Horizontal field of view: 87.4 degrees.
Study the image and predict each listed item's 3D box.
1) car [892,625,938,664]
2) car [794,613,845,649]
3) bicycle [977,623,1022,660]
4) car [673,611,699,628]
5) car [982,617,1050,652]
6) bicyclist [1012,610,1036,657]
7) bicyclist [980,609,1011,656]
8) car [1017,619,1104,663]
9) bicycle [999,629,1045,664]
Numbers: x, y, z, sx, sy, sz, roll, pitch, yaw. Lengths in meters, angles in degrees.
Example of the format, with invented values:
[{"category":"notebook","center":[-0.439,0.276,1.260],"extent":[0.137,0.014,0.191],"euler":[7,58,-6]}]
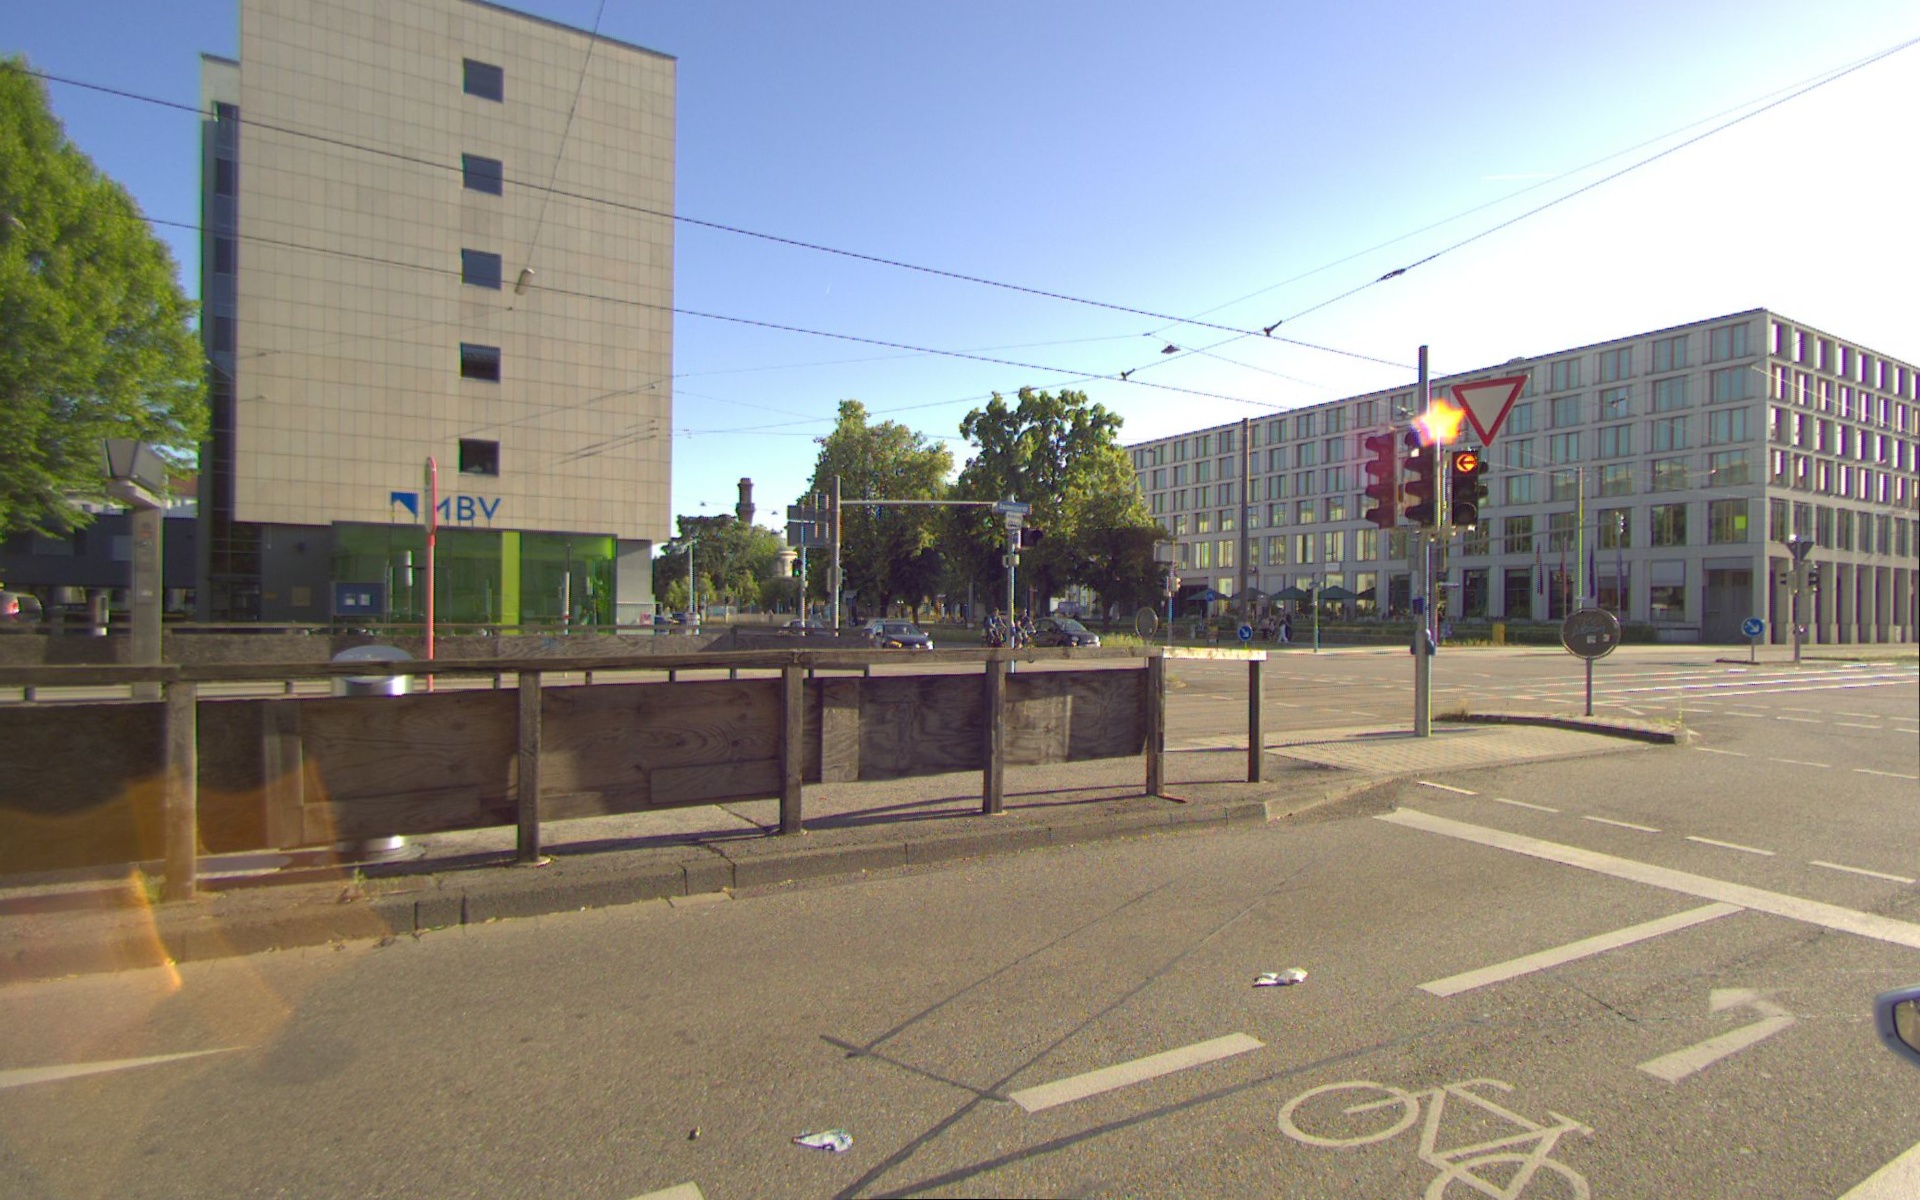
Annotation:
[{"category":"car","center":[-1.631,1.608,37.005],"extent":[1.441,1.311,3.229],"euler":[-1,0,1]},{"category":"car","center":[-6.593,1.433,47.558],"extent":[1.745,1.615,4.287],"euler":[0,-1,1]},{"category":"bicycle","center":[1.437,1.527,37.044],"extent":[0.874,1.305,2.042],"euler":[1,-1,-24]},{"category":"car","center":[-27.109,1.914,99.379],"extent":[1.505,1.526,3.511],"euler":[1,0,-32]},{"category":"car","center":[2.656,1.621,48.067],"extent":[1.505,1.526,3.511],"euler":[1,0,-32]},{"category":"bicyclist","center":[2.194,1.146,34.429],"extent":[0.586,1.603,0.617],"euler":[1,-1,-24]},{"category":"bicyclist","center":[1.327,1.206,37.300],"extent":[0.833,1.717,0.887],"euler":[1,-1,-24]},{"category":"car","center":[3.799,1.518,38.415],"extent":[1.505,1.526,3.511],"euler":[1,0,-32]},{"category":"bicycle","center":[2.097,1.576,34.457],"extent":[0.779,1.137,1.918],"euler":[1,-1,-24]}]
